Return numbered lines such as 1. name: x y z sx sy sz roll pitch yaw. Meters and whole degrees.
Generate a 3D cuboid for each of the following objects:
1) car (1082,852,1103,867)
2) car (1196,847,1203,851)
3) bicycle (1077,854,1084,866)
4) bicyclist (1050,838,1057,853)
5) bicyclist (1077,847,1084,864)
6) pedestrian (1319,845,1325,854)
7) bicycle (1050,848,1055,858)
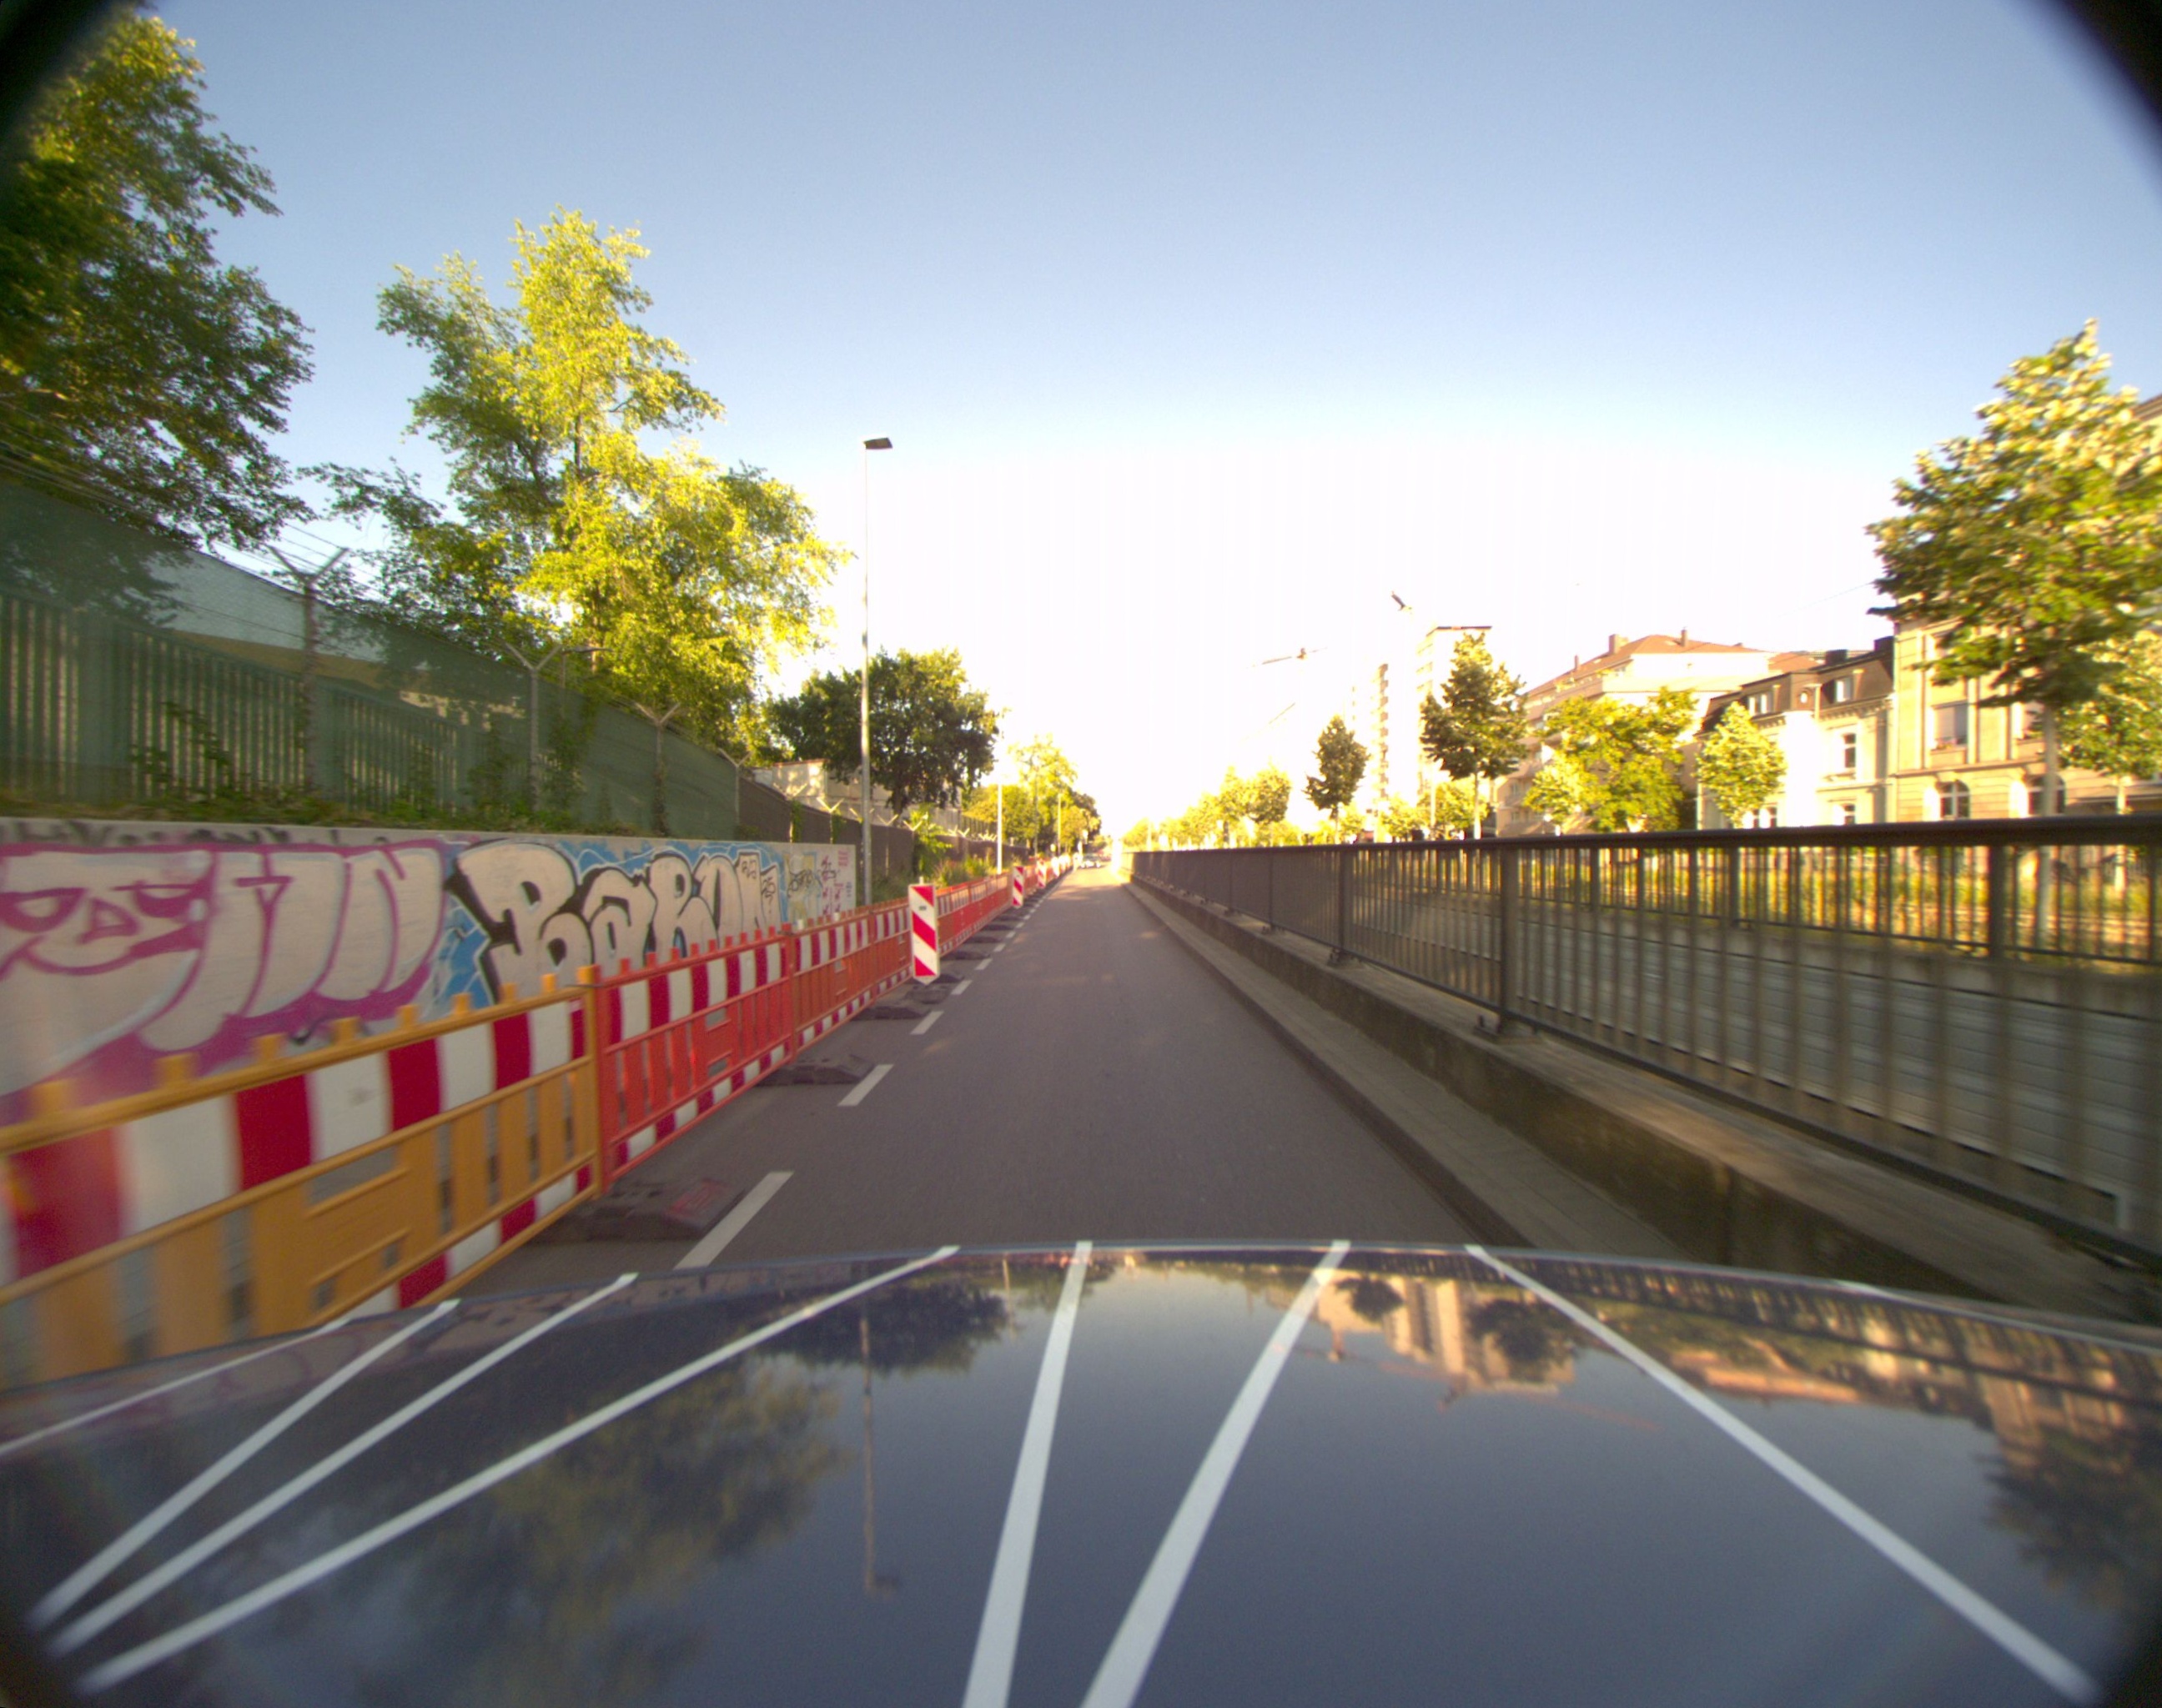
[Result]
1. car: 1.169 0.542 75.624 1.998 1.346 4.000 -1 1 2
2. car: 39.576 -1.682 253.220 1.780 1.455 4.662 -1 1 1
3. bicycle: -0.035 0.504 64.109 0.506 1.018 1.505 -1 1 2
4. bicyclist: -2.954 -0.964 81.803 0.585 1.605 0.903 -1 1 1
5. bicyclist: -0.031 0.149 64.143 0.516 1.399 0.805 -1 1 1
6. pedestrian: 43.801 -0.776 138.005 0.776 1.630 0.882 -1 1 1
7. bicycle: -3.037 -0.089 81.743 0.428 1.055 1.911 -1 1 2
